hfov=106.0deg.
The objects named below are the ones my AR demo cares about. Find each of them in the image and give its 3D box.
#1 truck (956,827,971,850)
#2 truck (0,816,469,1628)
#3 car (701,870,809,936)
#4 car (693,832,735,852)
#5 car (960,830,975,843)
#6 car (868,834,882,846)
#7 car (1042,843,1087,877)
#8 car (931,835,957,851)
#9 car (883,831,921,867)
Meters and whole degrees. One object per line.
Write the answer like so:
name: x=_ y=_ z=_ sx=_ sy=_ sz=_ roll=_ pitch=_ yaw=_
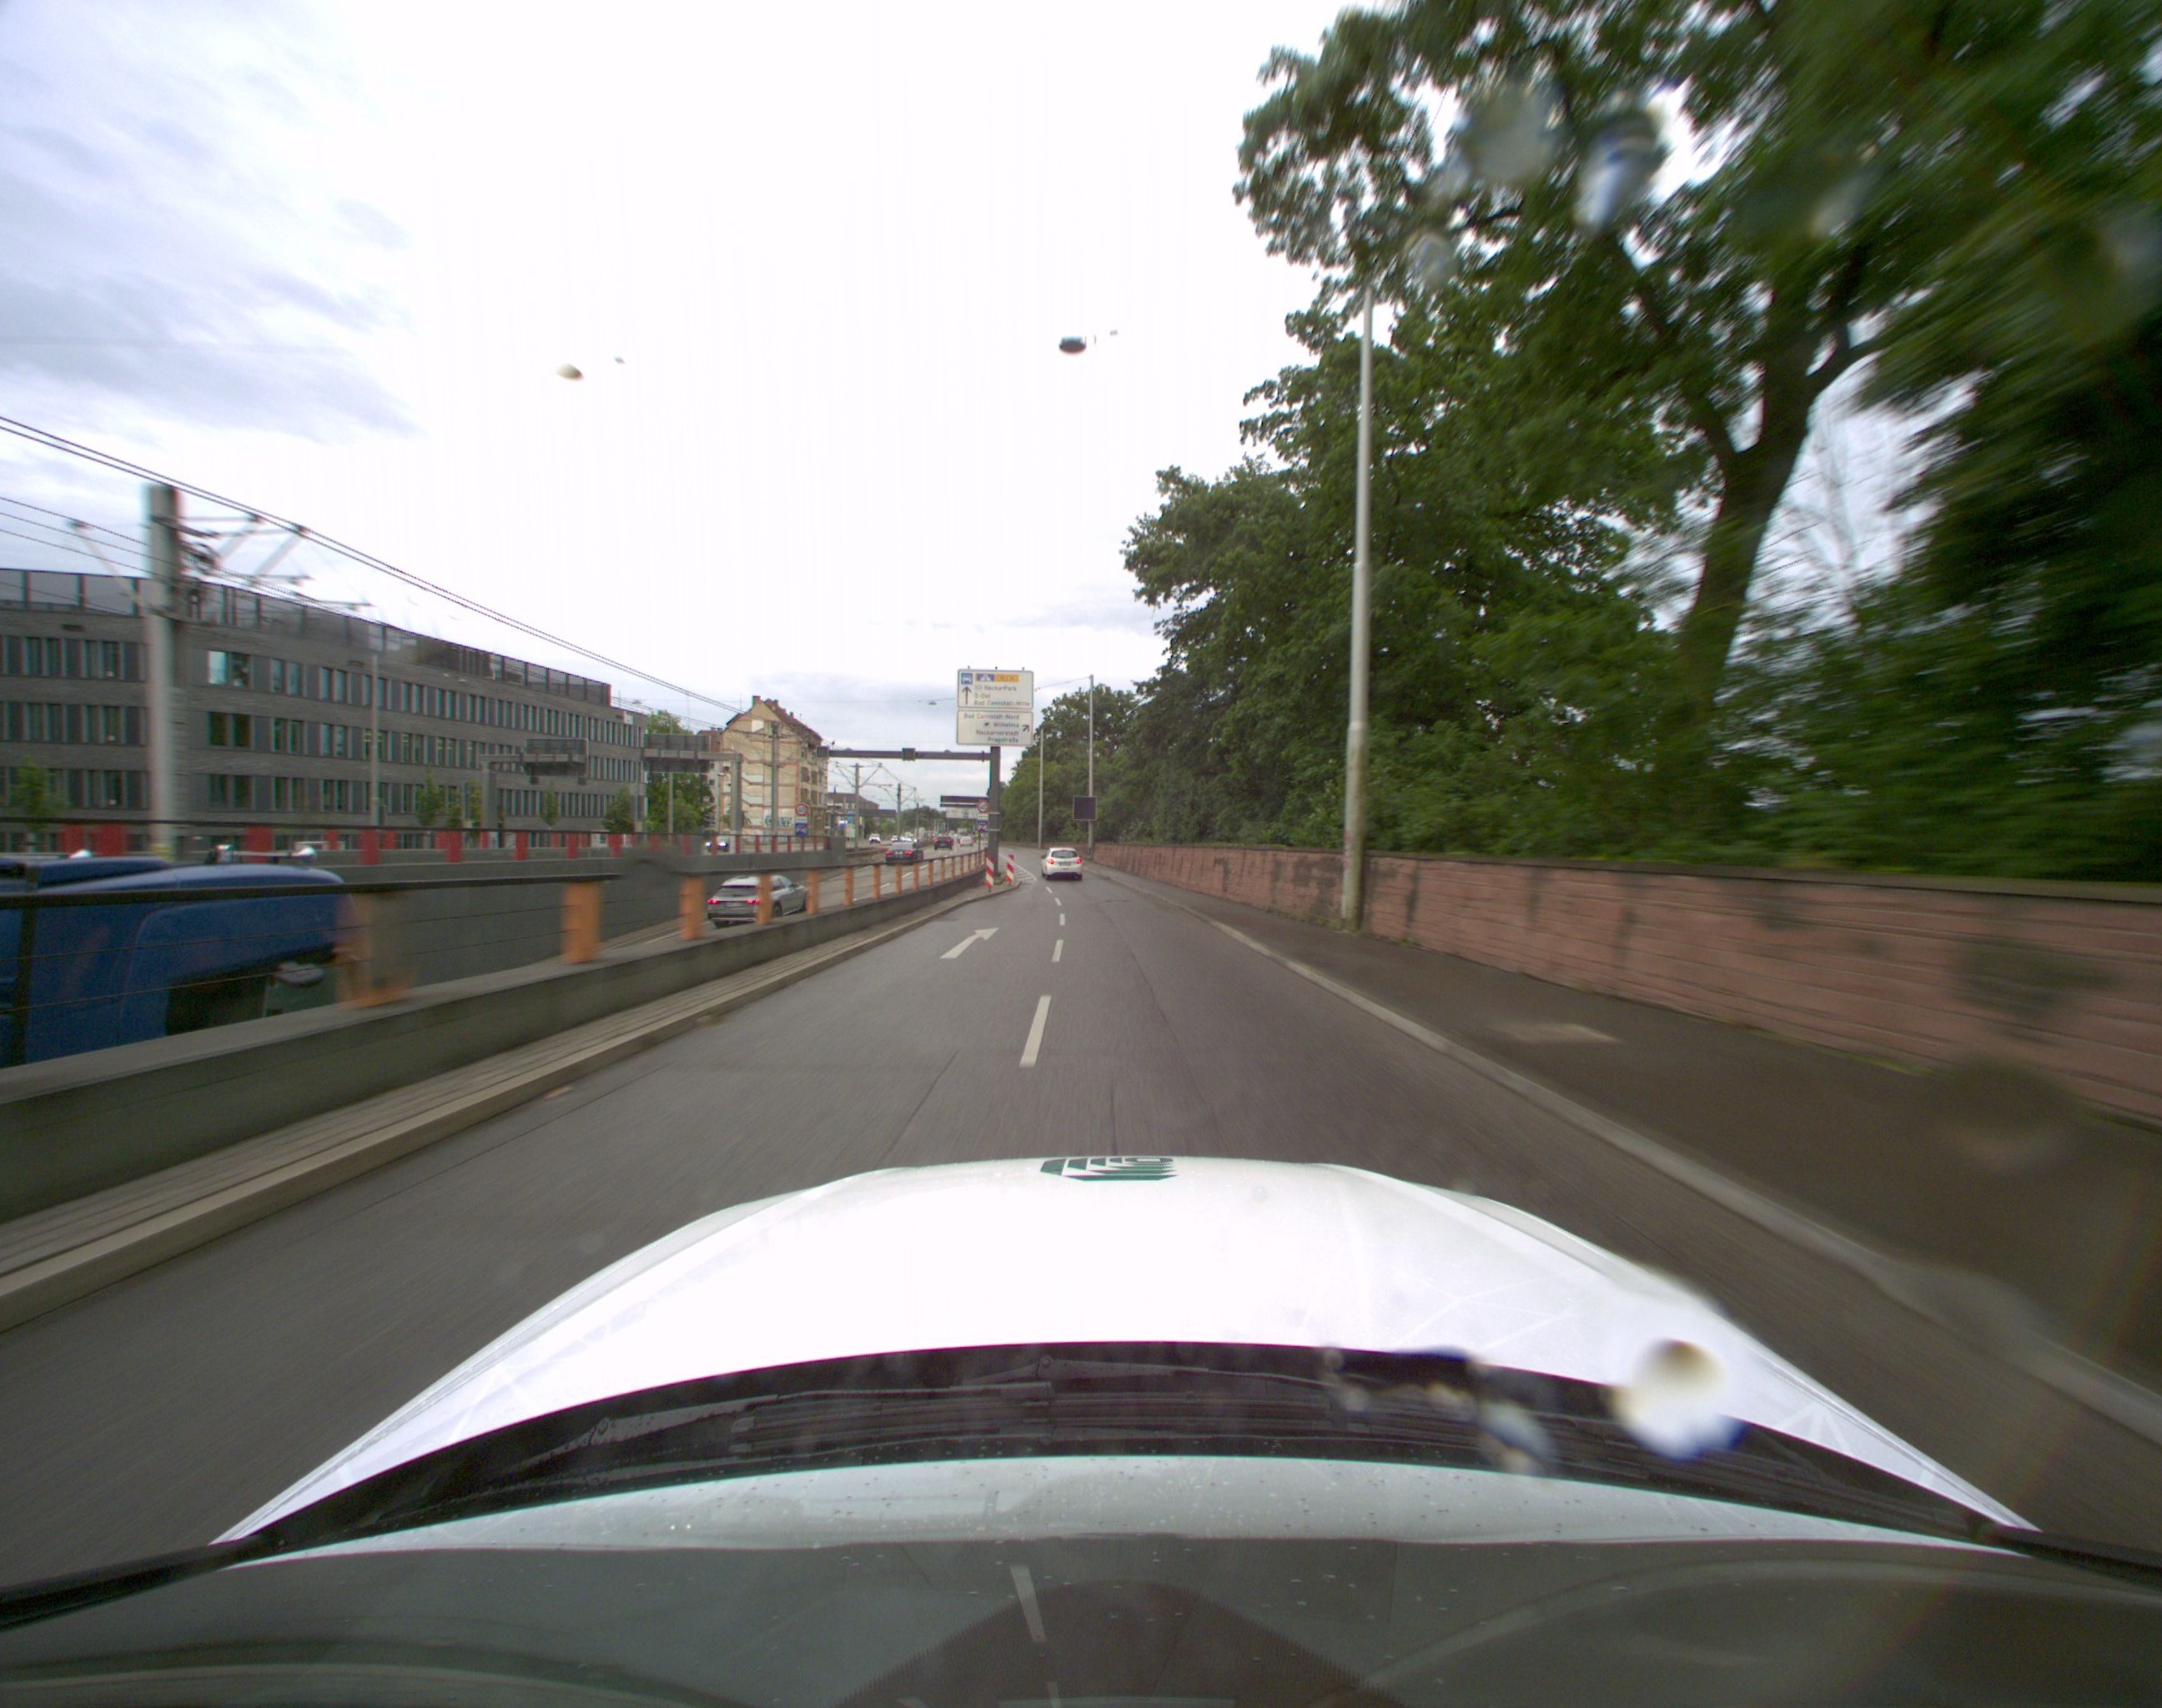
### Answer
truck: x=-31.142 y=-3.994 z=215.849 sx=3.461 sy=5.401 sz=12.020 roll=2 pitch=-2 yaw=-7
truck: x=-6.964 y=1.908 z=3.993 sx=2.754 sy=4.196 sz=6.783 roll=0 pitch=2 yaw=-1
car: x=-10.325 y=1.480 z=26.134 sx=1.815 sy=1.565 sz=4.092 roll=-1 pitch=4 yaw=-1
car: x=-32.233 y=-1.060 z=71.562 sx=1.818 sy=1.584 sz=3.834 roll=2 pitch=3 yaw=2
car: x=-16.932 y=-2.544 z=121.483 sx=2.081 sy=1.872 sz=4.084 roll=0 pitch=1 yaw=-9
car: x=-40.317 y=-2.759 z=159.374 sx=1.992 sy=2.118 sz=5.096 roll=2 pitch=0 yaw=-8
car: x=-0.842 y=0.310 z=39.019 sx=1.952 sy=1.488 sz=3.993 roll=2 pitch=-2 yaw=-4
car: x=-13.918 y=-1.146 z=83.210 sx=1.987 sy=1.575 sz=3.999 roll=0 pitch=1 yaw=0
car: x=-11.017 y=-0.336 z=50.365 sx=1.718 sy=1.890 sz=3.533 roll=1 pitch=5 yaw=-3
